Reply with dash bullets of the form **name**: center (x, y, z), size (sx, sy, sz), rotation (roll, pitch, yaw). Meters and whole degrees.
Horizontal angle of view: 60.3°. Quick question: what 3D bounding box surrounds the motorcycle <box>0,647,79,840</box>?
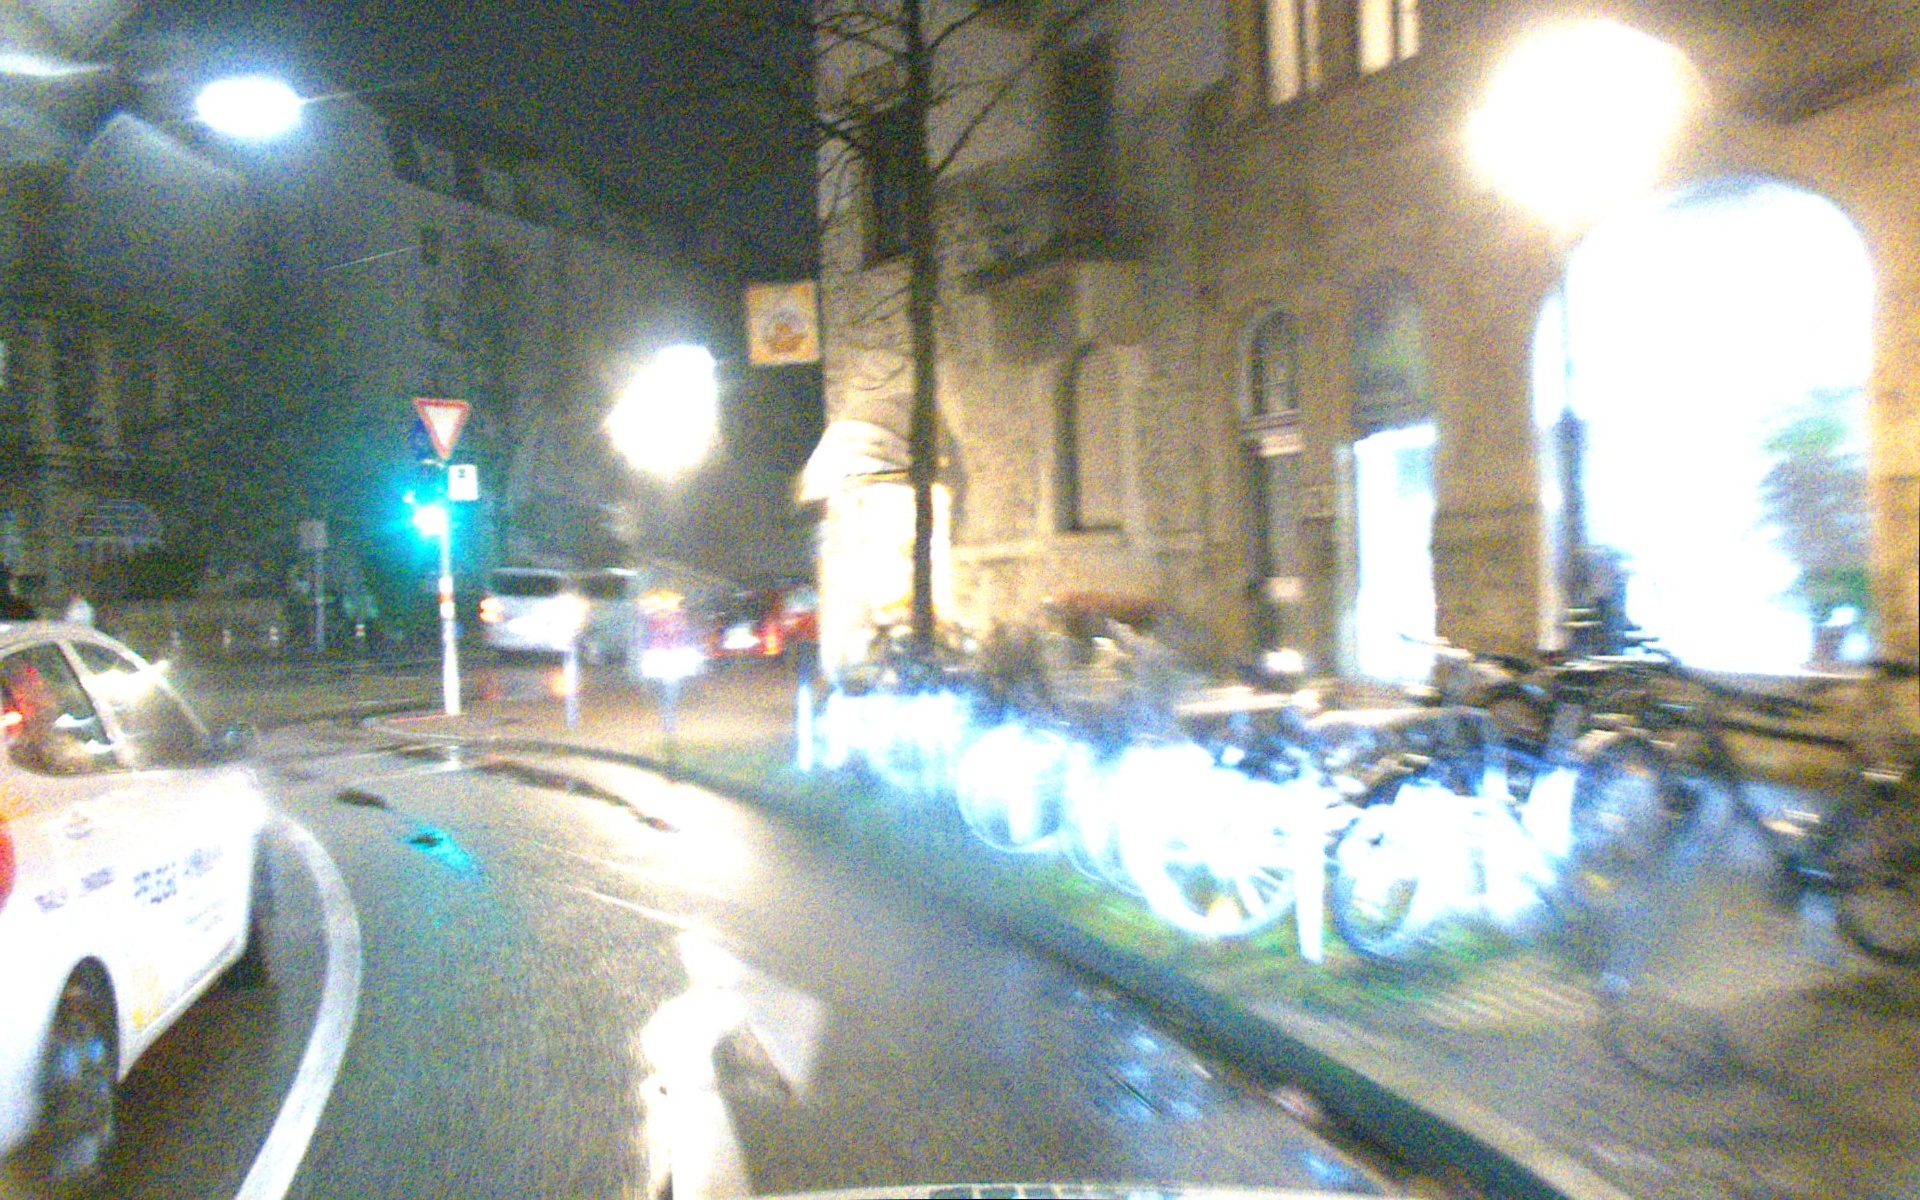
- **motorcycle**: center (-6.923, 0.981, 11.924), size (0.782, 1.234, 2.223), rotation (0, -1, -34)

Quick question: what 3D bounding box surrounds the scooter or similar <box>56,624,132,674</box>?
- **scooter or similar**: center (-19.302, 1.079, 36.870), size (0.628, 1.070, 1.366), rotation (1, 0, 31)

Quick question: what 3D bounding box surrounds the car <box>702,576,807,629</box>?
- **car**: center (-8.068, 0.064, 65.551), size (1.952, 1.857, 5.311), rotation (2, 2, 19)

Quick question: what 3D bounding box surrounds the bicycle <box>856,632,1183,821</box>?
- **bicycle**: center (0.383, 0.754, 10.362), size (1.942, 1.024, 0.638), rotation (-2, 0, -23)

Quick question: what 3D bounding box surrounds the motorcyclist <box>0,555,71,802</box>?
- **motorcyclist**: center (-6.878, 0.548, 11.879), size (0.782, 1.724, 0.810), rotation (0, -1, -34)

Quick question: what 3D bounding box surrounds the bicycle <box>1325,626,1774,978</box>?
- **bicycle**: center (2.276, 0.673, 6.249), size (1.955, 1.072, 0.633), rotation (-2, 0, -38)

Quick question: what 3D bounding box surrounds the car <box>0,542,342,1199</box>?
- **car**: center (-3.202, 0.704, 5.004), size (1.886, 1.542, 3.587), rotation (-4, 1, -12)

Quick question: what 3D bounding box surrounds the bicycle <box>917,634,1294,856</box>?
- **bicycle**: center (0.798, 0.739, 8.962), size (1.942, 1.024, 0.638), rotation (-2, 0, -23)

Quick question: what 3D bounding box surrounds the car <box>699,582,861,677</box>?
- **car**: center (-3.389, 0.530, 31.786), size (1.613, 1.551, 3.582), rotation (-5, -1, 19)

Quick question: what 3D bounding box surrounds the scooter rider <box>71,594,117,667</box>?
- **scooter rider**: center (-19.301, 0.673, 36.857), size (0.628, 1.600, 0.651), rotation (1, 0, 31)

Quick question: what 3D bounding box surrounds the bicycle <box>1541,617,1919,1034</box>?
- **bicycle**: center (2.837, 0.638, 5.316), size (1.794, 1.106, 0.716), rotation (-2, 0, -23)

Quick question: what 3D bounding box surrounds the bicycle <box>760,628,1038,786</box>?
- **bicycle**: center (-0.444, 0.756, 12.220), size (1.942, 1.024, 0.638), rotation (-2, 0, -23)

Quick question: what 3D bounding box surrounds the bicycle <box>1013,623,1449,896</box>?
- **bicycle**: center (1.272, 0.685, 7.688), size (1.942, 1.083, 0.638), rotation (-2, 0, -23)

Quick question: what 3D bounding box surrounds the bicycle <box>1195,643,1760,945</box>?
- **bicycle**: center (1.892, 0.714, 6.274), size (1.927, 1.024, 0.643), rotation (-2, 0, 6)

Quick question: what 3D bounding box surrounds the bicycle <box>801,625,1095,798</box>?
- **bicycle**: center (-0.074, 0.743, 11.548), size (1.942, 1.053, 0.638), rotation (-2, 0, -23)

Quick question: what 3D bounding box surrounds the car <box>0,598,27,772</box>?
- **car**: center (-11.343, 0.870, 17.988), size (1.734, 1.770, 3.752), rotation (0, -1, -35)

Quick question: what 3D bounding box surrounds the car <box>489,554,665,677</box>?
- **car**: center (-8.251, 0.276, 36.211), size (2.170, 2.484, 5.388), rotation (0, 1, 5)
